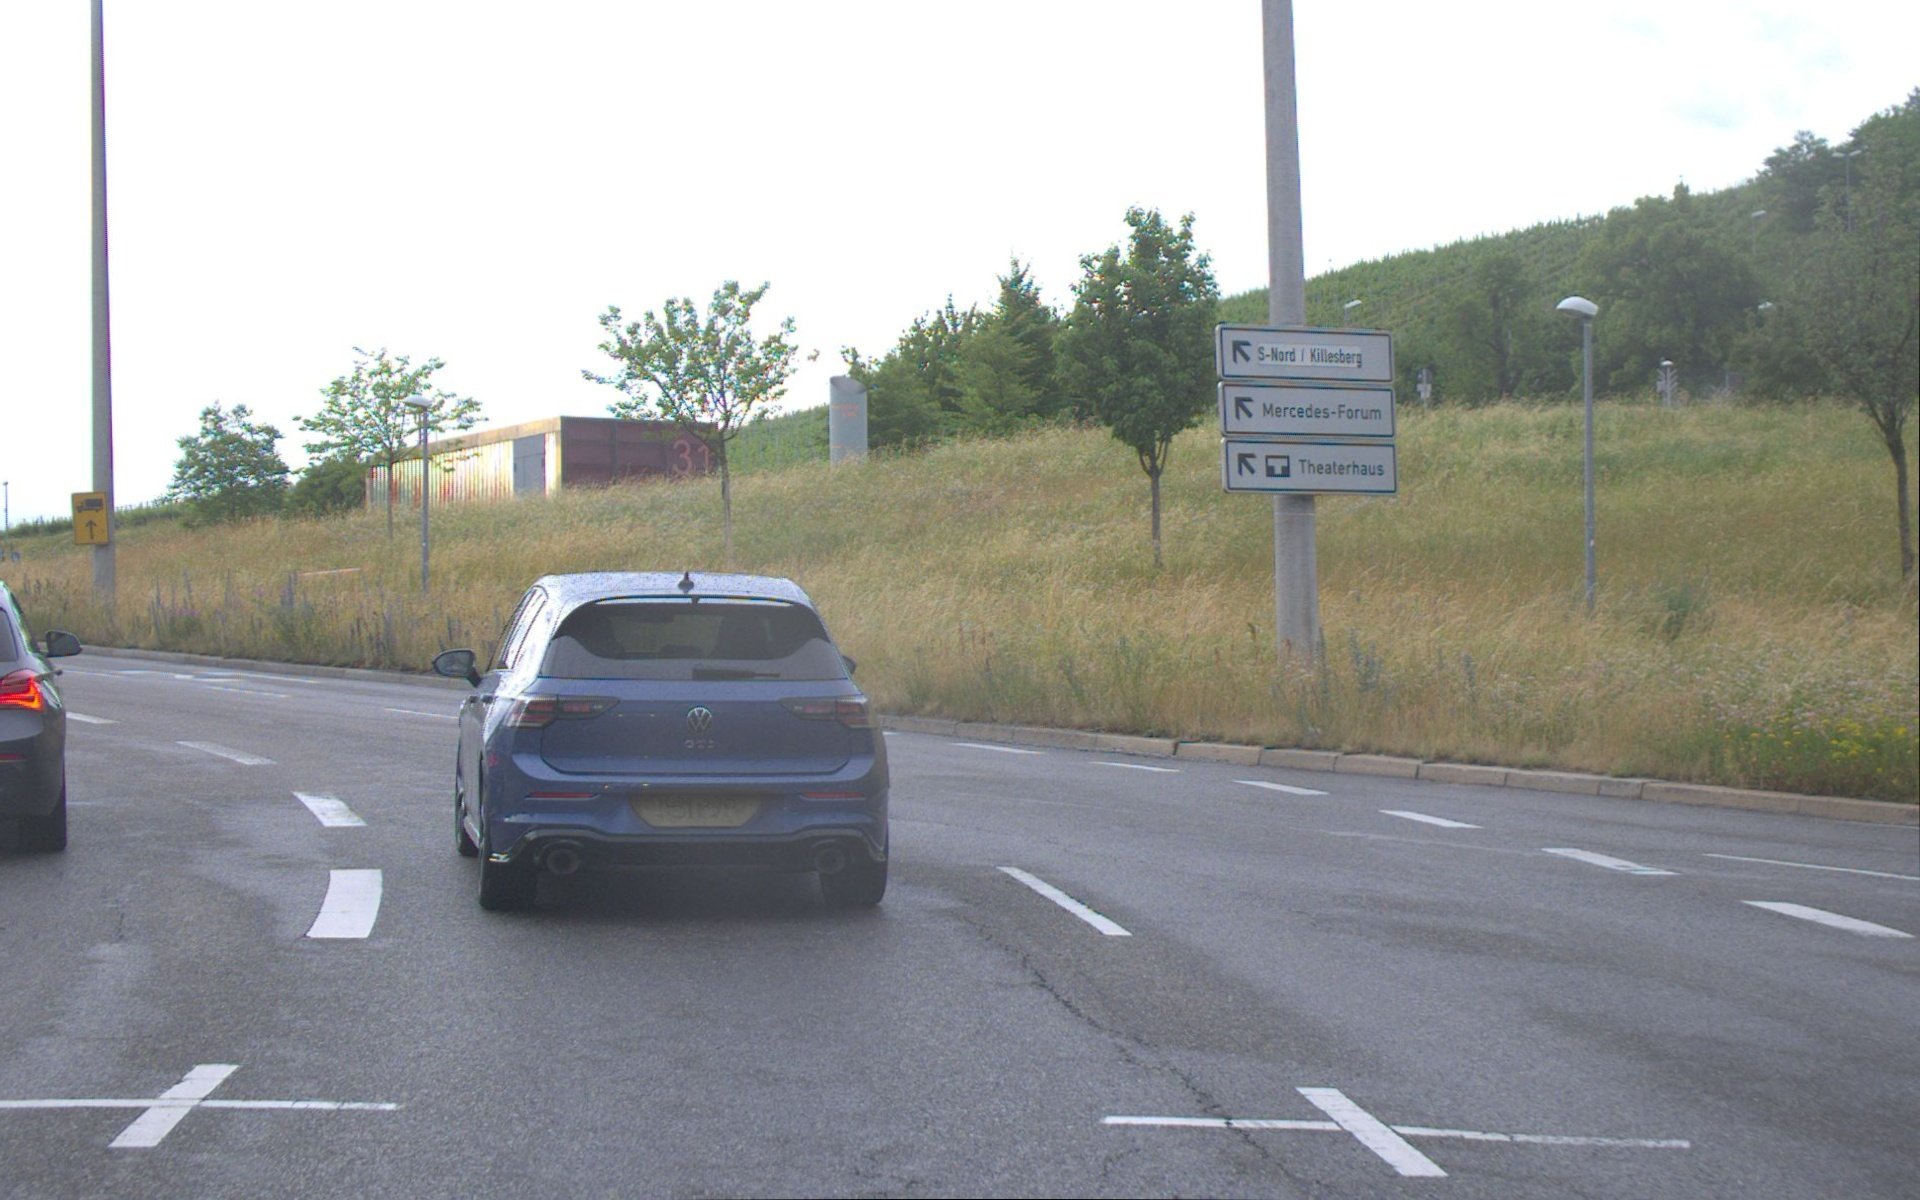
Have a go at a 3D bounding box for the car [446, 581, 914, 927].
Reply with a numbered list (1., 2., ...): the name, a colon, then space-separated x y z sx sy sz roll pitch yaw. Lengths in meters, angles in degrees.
1. car: -1.428 0.623 15.993 1.837 1.389 4.001 1 0 -9

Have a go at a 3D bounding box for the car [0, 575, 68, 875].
1. car: -5.796 0.590 18.442 1.868 1.456 3.977 1 0 -14
